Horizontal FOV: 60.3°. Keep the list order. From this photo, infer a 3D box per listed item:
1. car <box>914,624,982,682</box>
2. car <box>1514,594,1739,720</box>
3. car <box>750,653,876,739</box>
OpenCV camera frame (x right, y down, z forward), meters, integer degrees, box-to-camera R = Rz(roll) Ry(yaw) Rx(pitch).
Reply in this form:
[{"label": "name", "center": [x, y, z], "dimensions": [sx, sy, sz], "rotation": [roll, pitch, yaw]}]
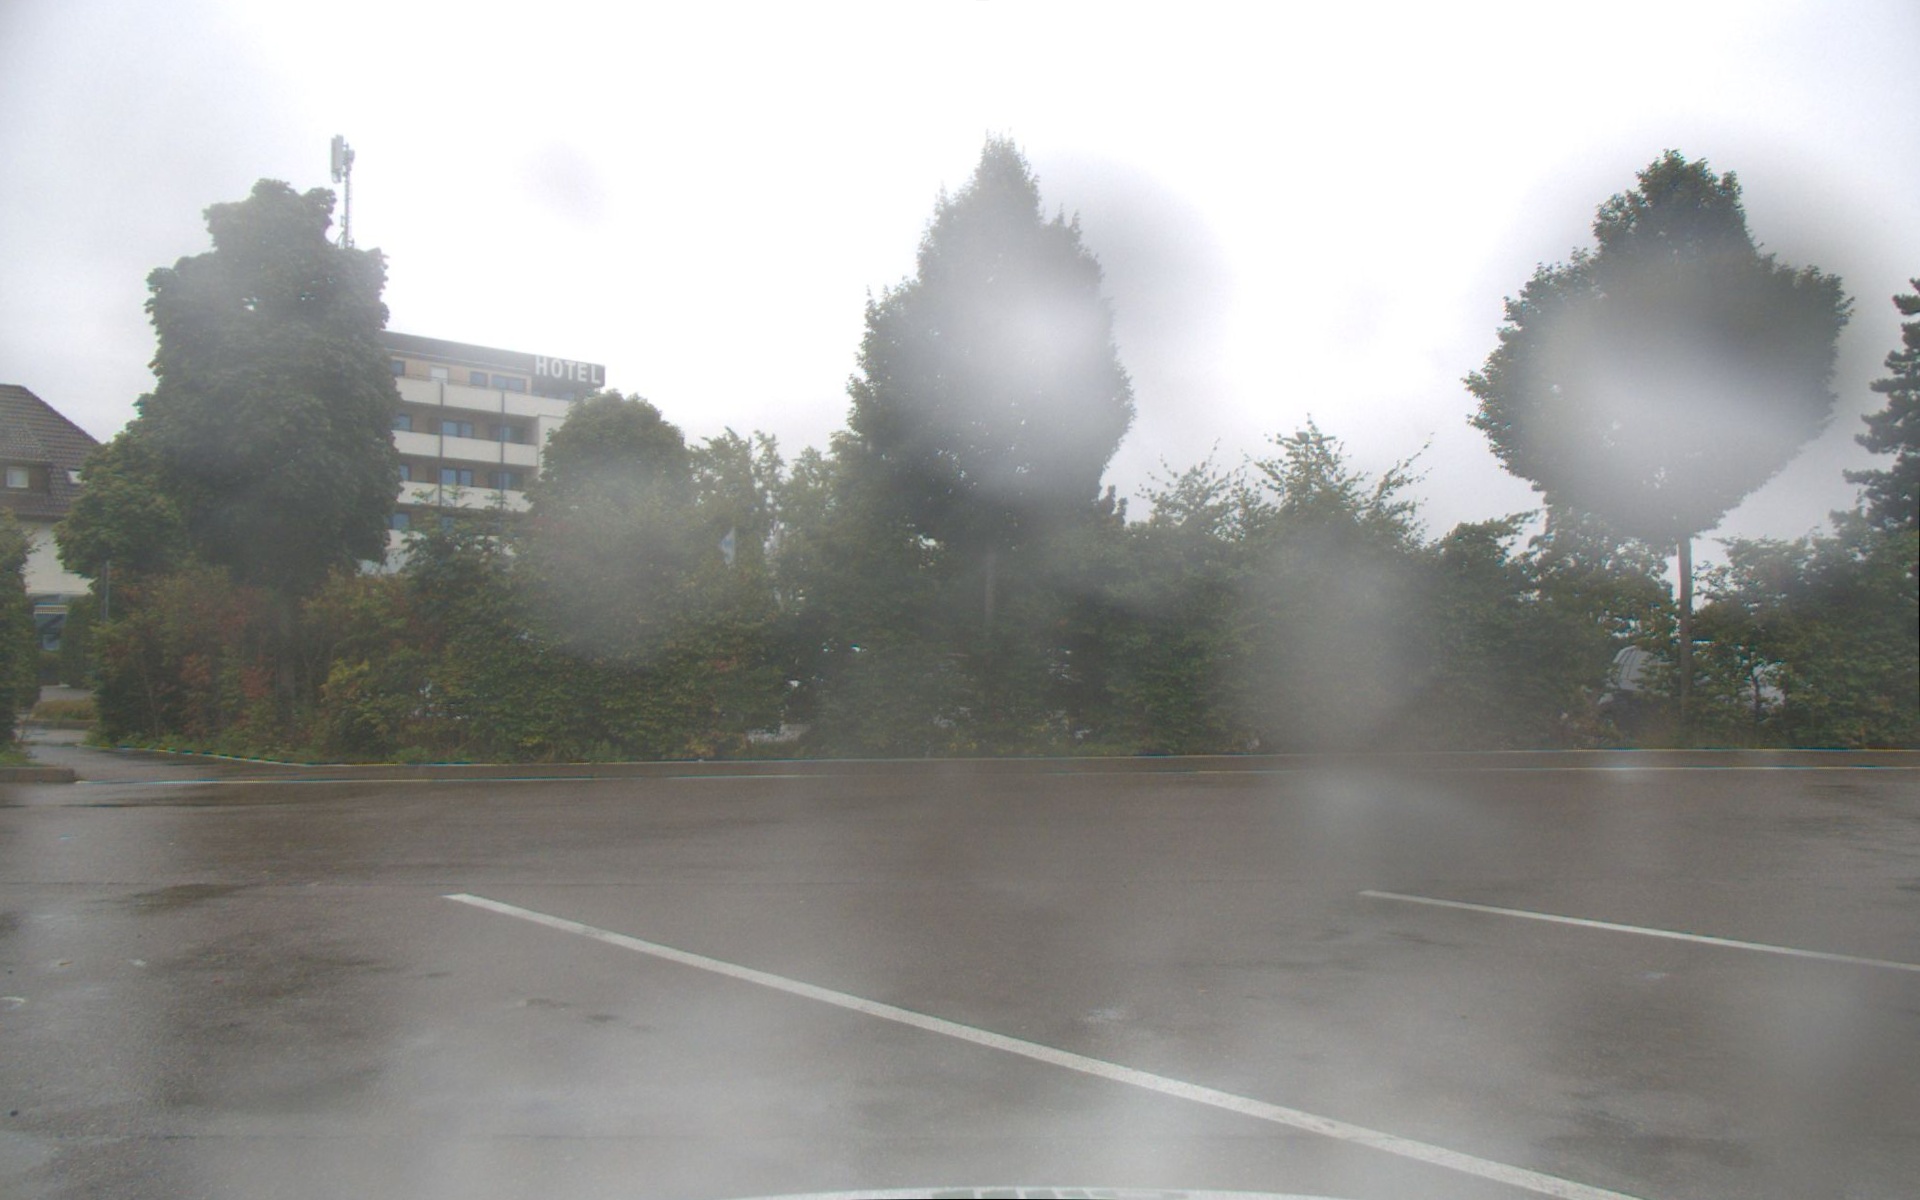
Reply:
[{"label": "car", "center": [-0.326, 1.624, 51.176], "dimensions": [1.756, 1.723, 4.050], "rotation": [-1, -1, 4]}, {"label": "car", "center": [9.593, 0.808, 24.166], "dimensions": [1.744, 1.657, 4.095], "rotation": [-1, -1, 2]}, {"label": "car", "center": [-2.796, 1.817, 32.451], "dimensions": [1.840, 1.498, 4.769], "rotation": [-1, -1, 2]}]
